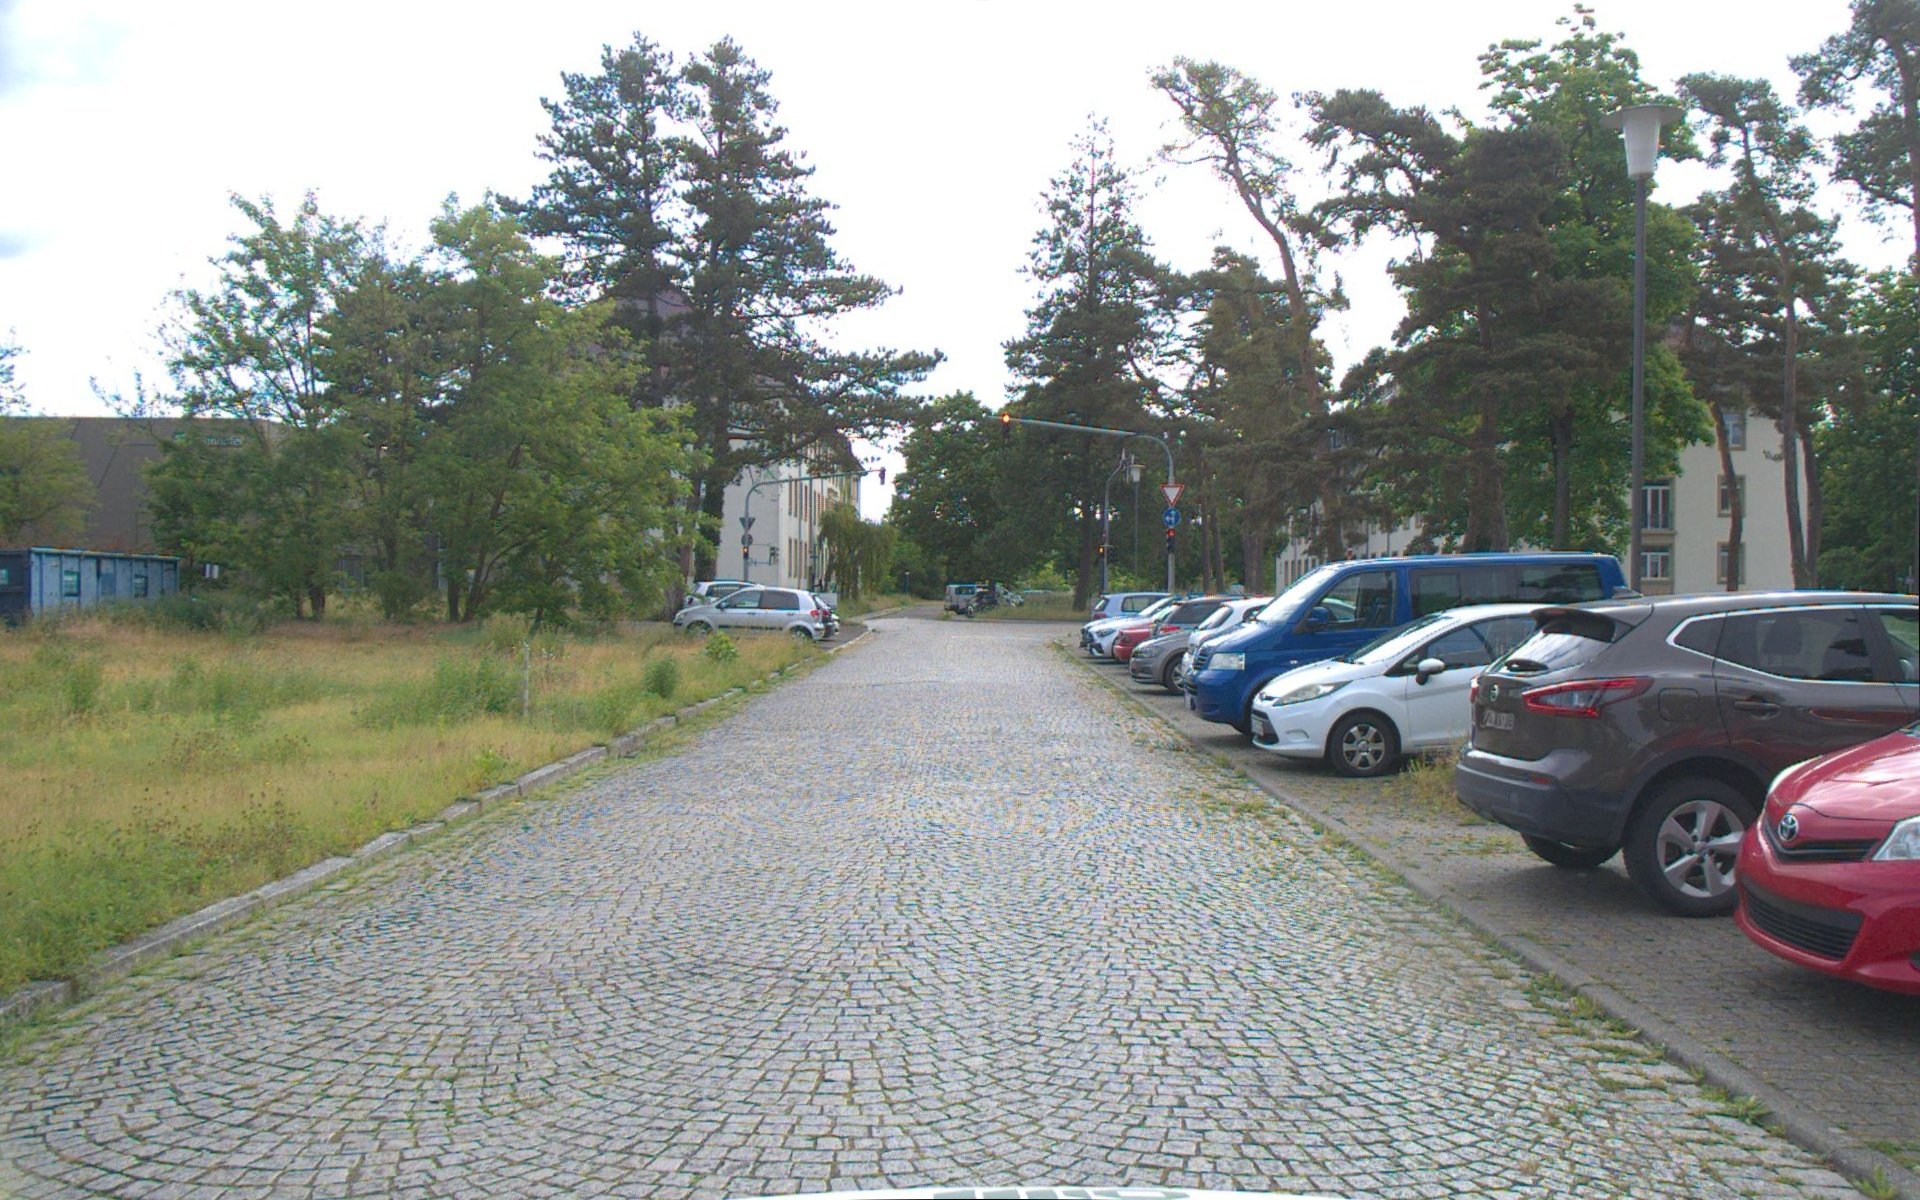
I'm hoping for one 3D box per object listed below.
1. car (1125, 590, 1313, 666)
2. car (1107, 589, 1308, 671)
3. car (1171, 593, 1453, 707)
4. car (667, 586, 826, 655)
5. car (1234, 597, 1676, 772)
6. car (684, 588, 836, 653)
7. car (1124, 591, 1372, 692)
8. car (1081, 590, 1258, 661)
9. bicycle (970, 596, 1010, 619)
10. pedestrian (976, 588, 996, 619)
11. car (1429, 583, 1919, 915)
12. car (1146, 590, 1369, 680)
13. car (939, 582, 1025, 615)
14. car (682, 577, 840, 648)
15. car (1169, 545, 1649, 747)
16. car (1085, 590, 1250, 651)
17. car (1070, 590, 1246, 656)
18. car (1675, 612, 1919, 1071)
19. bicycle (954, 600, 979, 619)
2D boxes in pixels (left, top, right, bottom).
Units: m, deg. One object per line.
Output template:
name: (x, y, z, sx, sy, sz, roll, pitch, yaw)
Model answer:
car: (5.281, 0.559, 34.013, 3.598, 1.475, 1.523, -1, 0, -2)
car: (4.702, 0.562, 31.727, 3.598, 1.475, 1.523, -1, 0, -2)
car: (4.889, 0.676, 23.254, 3.598, 1.475, 1.523, -1, 0, -2)
car: (-5.214, 0.499, 40.687, 3.745, 1.600, 1.563, -1, 0, -3)
car: (4.505, 0.740, 15.382, 3.598, 1.475, 1.614, -1, 0, -3)
car: (-5.170, 0.526, 43.104, 3.743, 1.600, 1.564, -1, 0, -1)
car: (4.478, 0.627, 26.033, 3.598, 1.475, 1.523, -1, 0, -2)
car: (4.557, 0.543, 36.264, 3.600, 1.446, 1.522, -1, 0, -4)
bicycle: (1.646, 0.409, 90.695, 2.095, 1.236, 0.621, 1, 0, -5)
pedestrian: (1.453, 0.195, 91.038, 1.013, 1.642, 0.757, 1, 0, -5)
car: (4.794, 0.706, 9.006, 3.948, 1.579, 1.750, -1, 0, -3)
car: (5.168, 0.600, 29.022, 3.598, 1.475, 1.523, -1, 0, -2)
car: (1.446, -0.102, 108.605, 5.345, 2.049, 2.264, 1, 0, -9)
car: (-5.508, 0.346, 46.091, 4.175, 1.873, 1.743, -1, 0, -1)
car: (4.749, 0.472, 17.975, 4.658, 1.989, 1.931, -1, 0, -2)
car: (5.207, 0.505, 41.771, 3.890, 1.446, 1.618, -1, 0, -4)
car: (4.644, 0.534, 39.120, 3.890, 1.446, 1.618, -1, 0, -4)
car: (4.988, 0.781, 6.359, 3.714, 1.485, 1.751, -1, 0, 0)
bicycle: (0.361, 0.503, 86.624, 0.613, 0.961, 1.648, 1, 0, -27)
